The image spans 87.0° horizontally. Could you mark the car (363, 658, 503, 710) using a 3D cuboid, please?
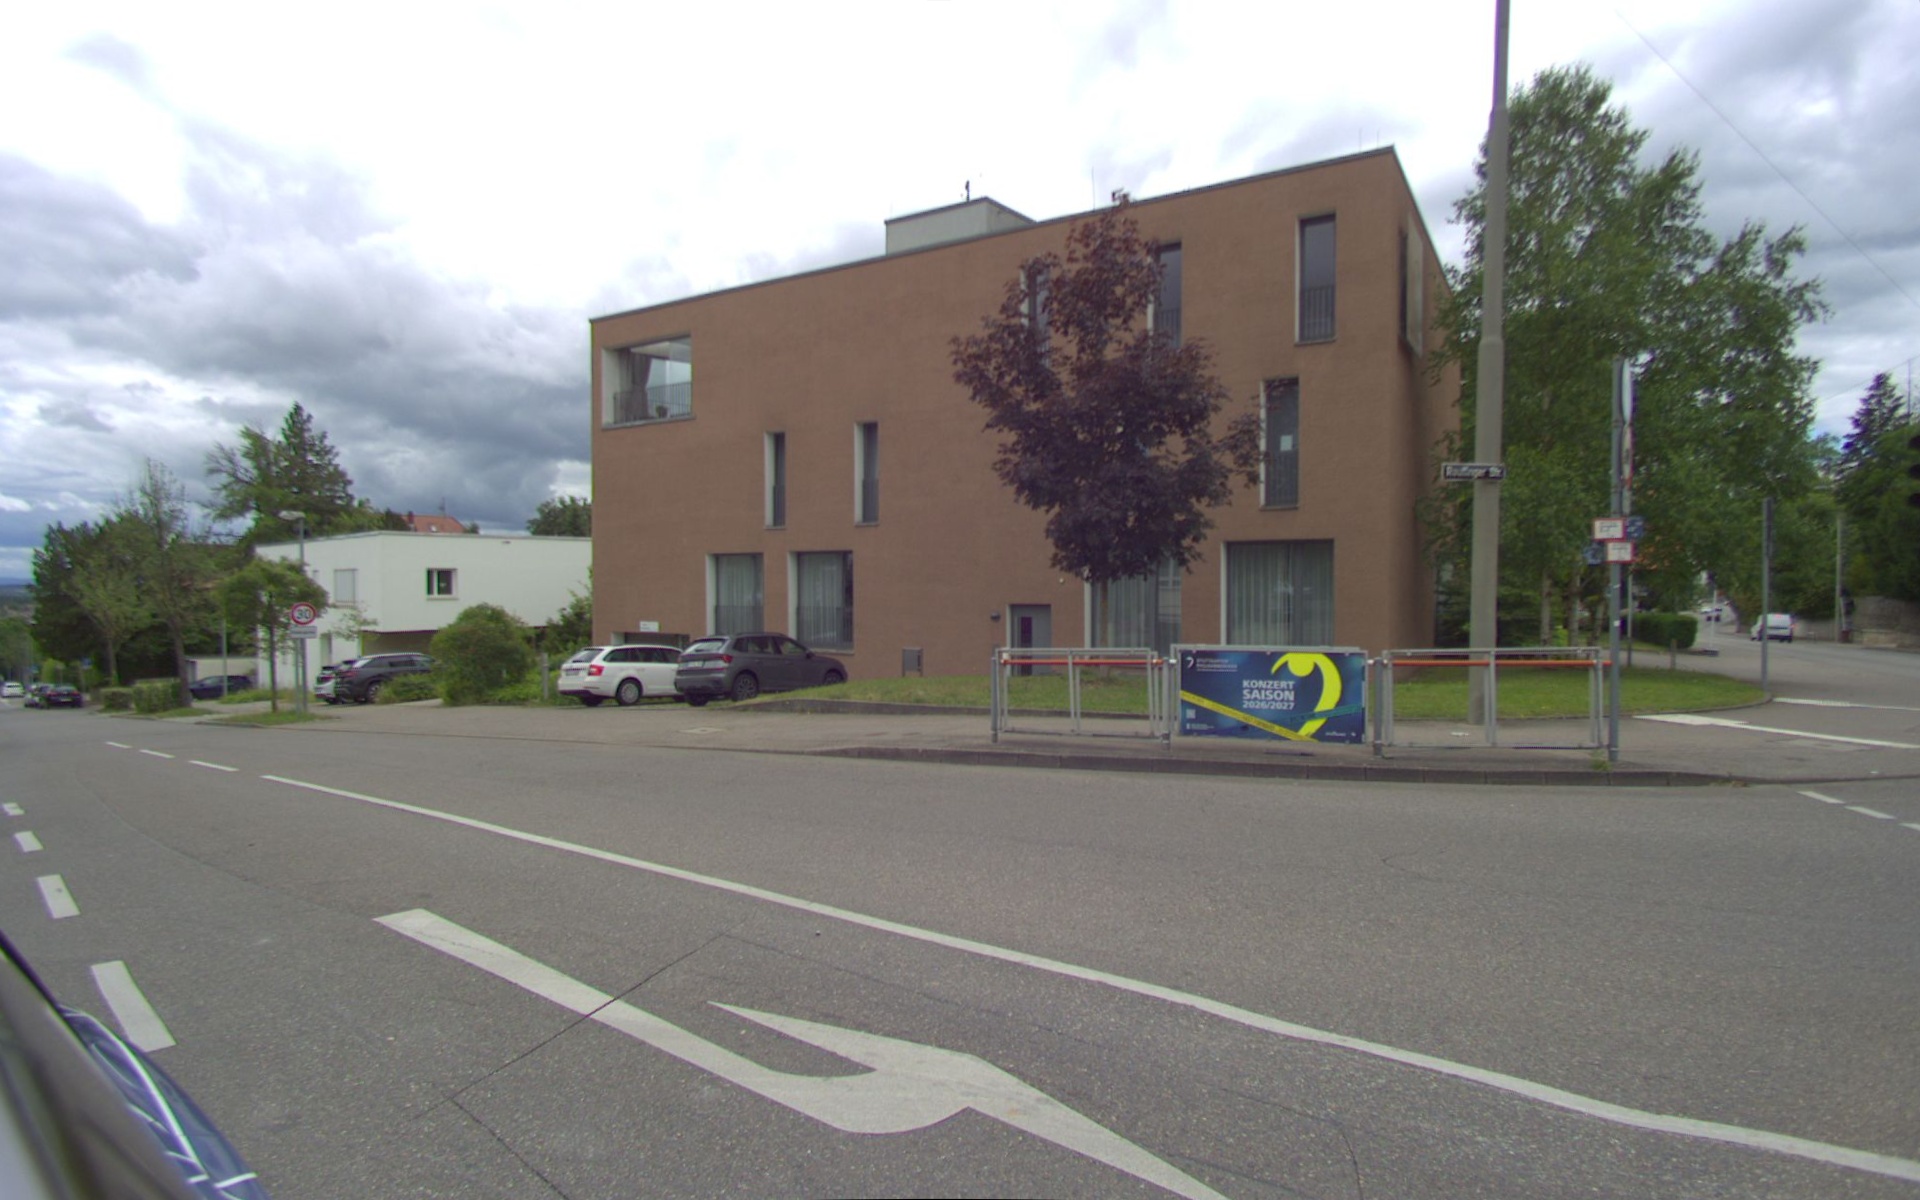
[{"bbox_3d":[-18.133,2.875,34.919,1.726,1.497,3.944,-6,-4,42],"label":"car"}]

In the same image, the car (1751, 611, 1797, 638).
[{"bbox_3d":[54.143,1.640,67.391,1.806,1.724,3.993,-1,-2,31],"label":"car"}]

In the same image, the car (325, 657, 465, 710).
[{"bbox_3d":[-19.877,2.917,35.697,1.793,1.608,3.944,-6,-4,42],"label":"car"}]

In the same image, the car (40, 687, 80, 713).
[{"bbox_3d":[-54.923,6.075,61.724,1.638,1.432,4.002,0,-4,-44],"label":"car"}]

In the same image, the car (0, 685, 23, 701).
[{"bbox_3d":[-96.017,9.306,101.870,4.362,1.432,1.861,-3,-2,38],"label":"car"}]

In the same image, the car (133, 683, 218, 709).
[{"bbox_3d":[-46.953,5.739,60.611,3.939,1.296,1.664,0,-4,-43],"label":"car"}]

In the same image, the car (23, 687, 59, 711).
[{"bbox_3d":[-61.560,6.632,67.776,1.638,1.432,4.371,0,-4,-44],"label":"car"}]

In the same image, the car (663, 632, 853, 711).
[{"bbox_3d":[-4.352,1.538,22.329,1.724,1.497,3.950,-5,-4,36],"label":"car"}]

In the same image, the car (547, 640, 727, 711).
[{"bbox_3d":[-7.868,1.823,24.926,1.724,1.497,3.950,-5,-4,36],"label":"car"}]
